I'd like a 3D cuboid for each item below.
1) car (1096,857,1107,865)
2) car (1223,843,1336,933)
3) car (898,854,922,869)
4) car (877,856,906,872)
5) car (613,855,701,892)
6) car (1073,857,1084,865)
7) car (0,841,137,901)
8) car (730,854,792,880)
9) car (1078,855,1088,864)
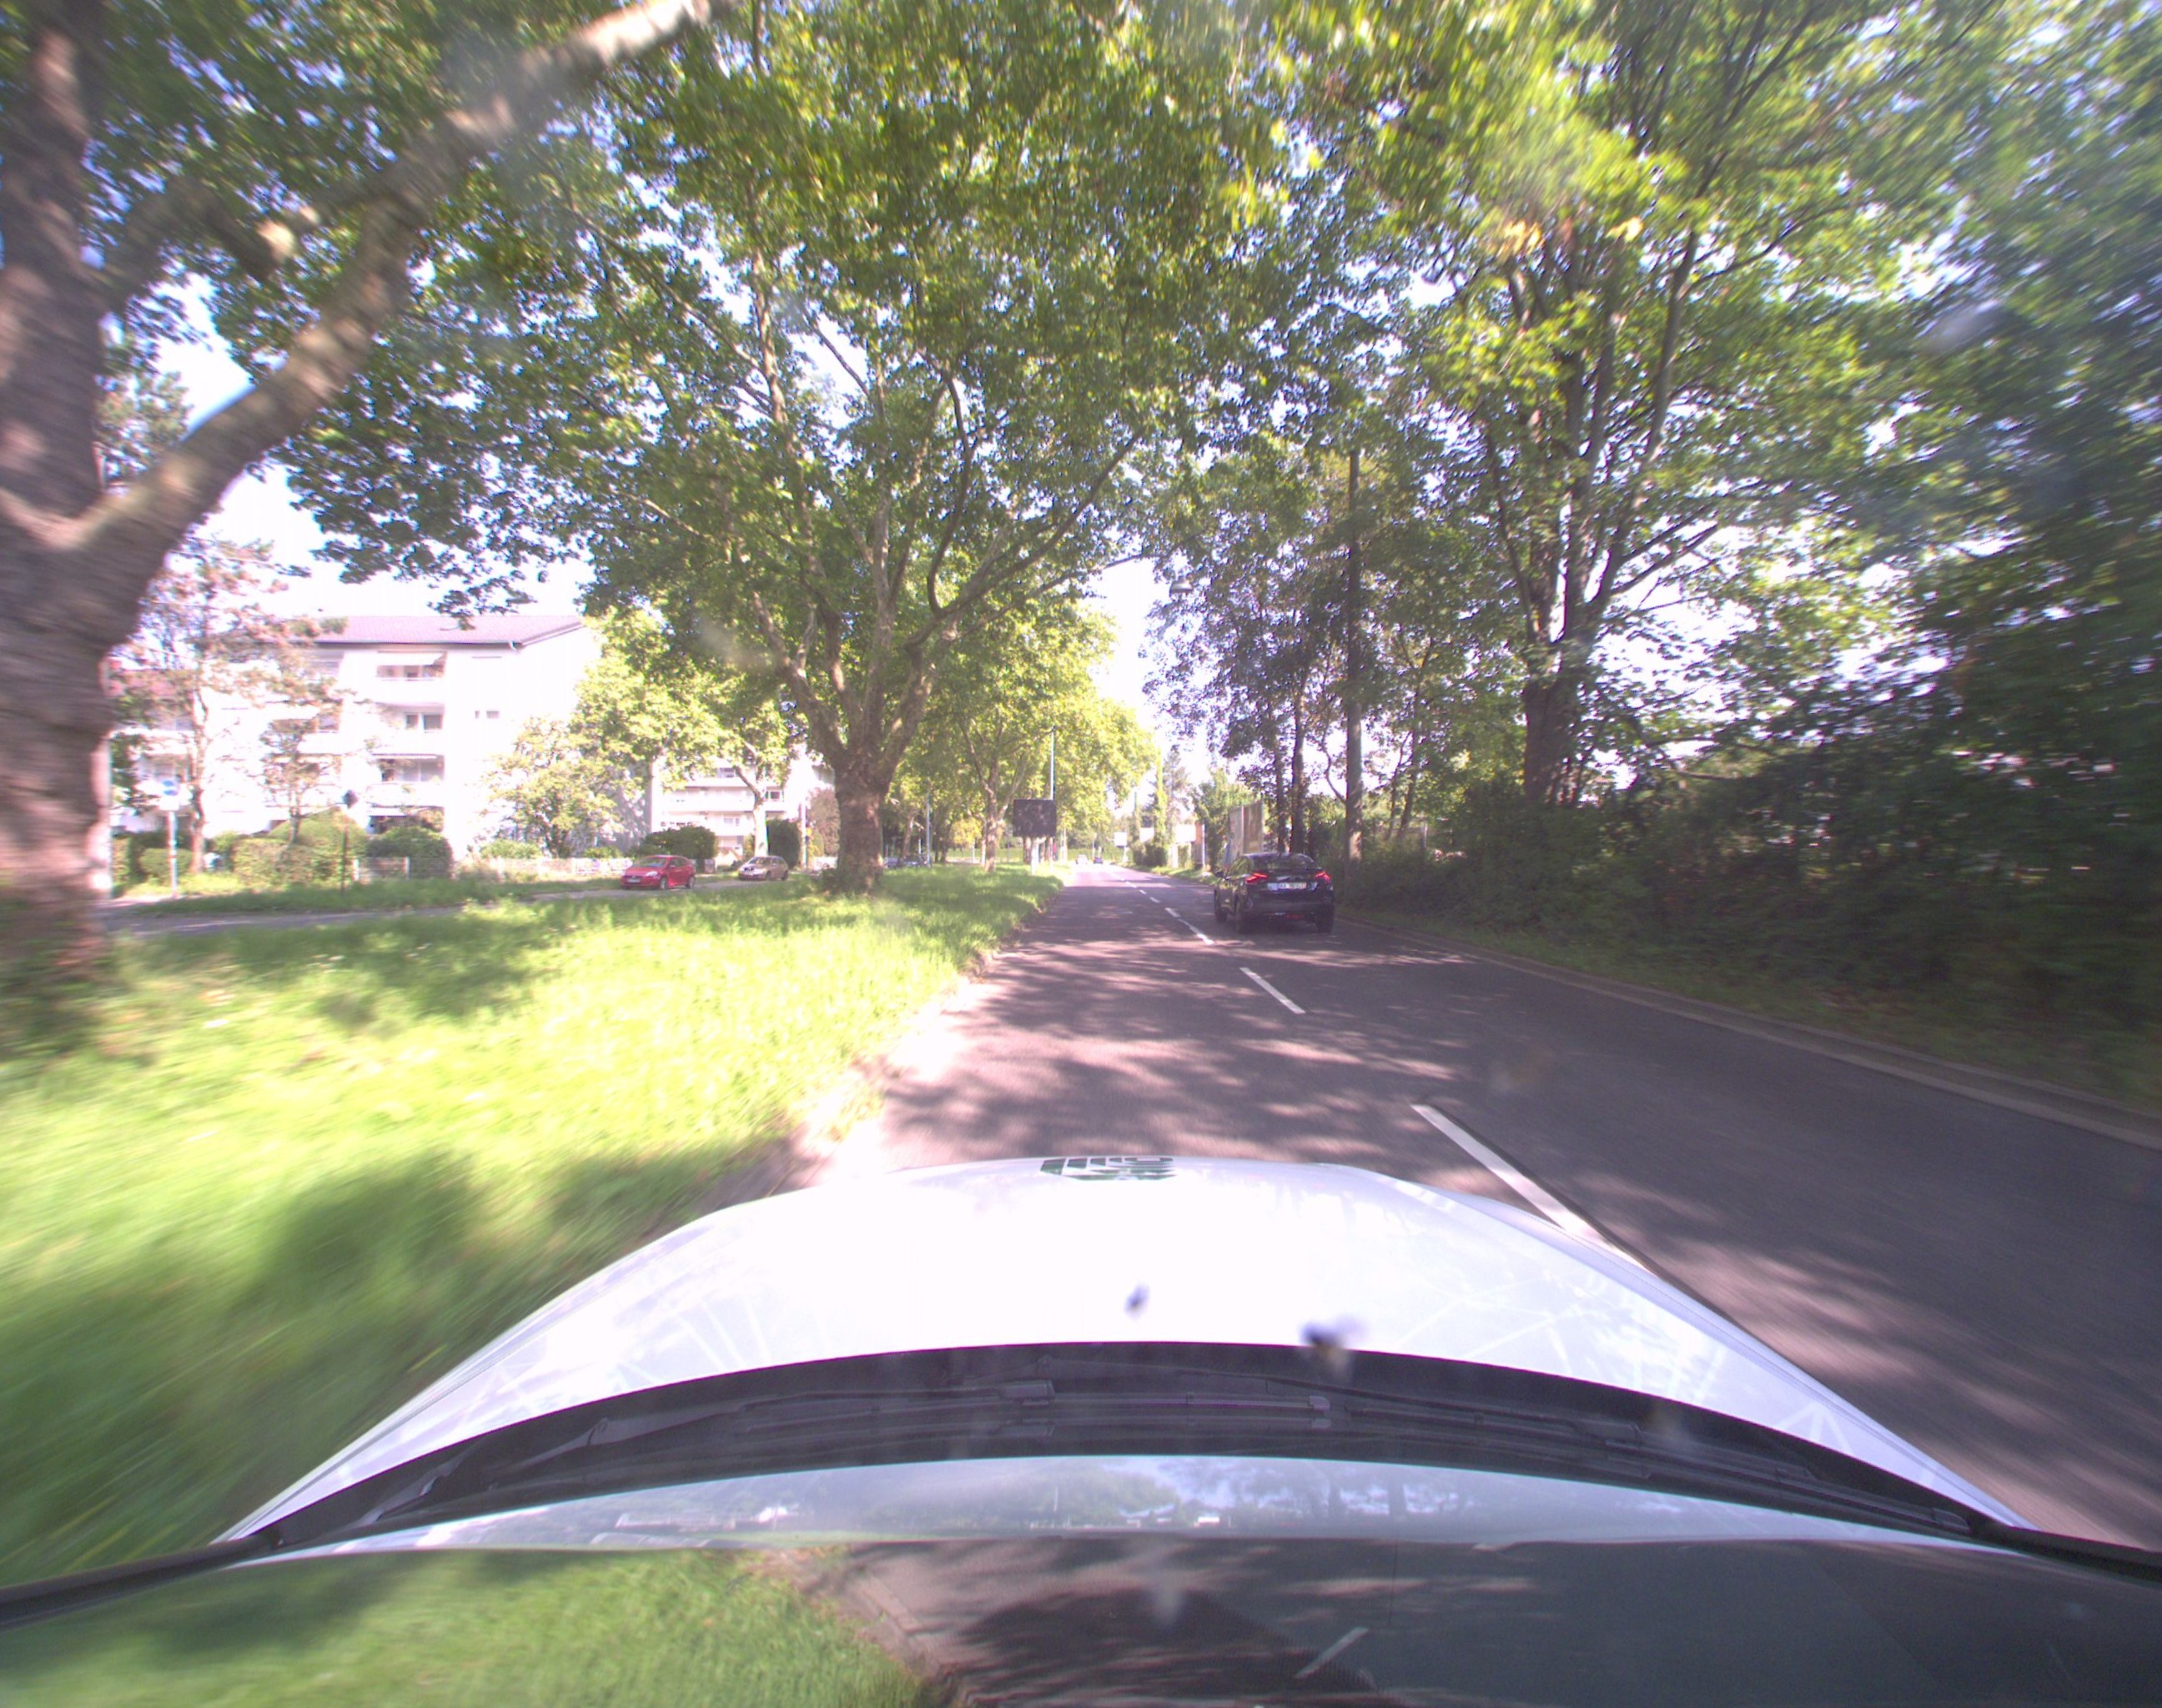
[{"bbox_3d":[3.769,1.344,150.662,1.792,1.401,3.998,1,-1,-1],"label":"car"},{"bbox_3d":[3.901,0.629,16.628,1.637,1.588,4.261,-1,-1,5],"label":"car"},{"bbox_3d":[-18.456,0.822,87.899,1.694,1.568,3.999,0,0,0],"label":"car"},{"bbox_3d":[-18.495,0.993,79.608,1.694,1.508,4.540,0,0,0],"label":"car"},{"bbox_3d":[-18.058,0.808,34.871,1.533,1.451,4.065,1,-1,1],"label":"car"},{"bbox_3d":[-0.506,1.274,150.063,1.680,1.462,3.853,1,-1,4],"label":"car"},{"bbox_3d":[-35.018,0.530,27.172,1.835,1.901,4.271,1,-1,5],"label":"car"},{"bbox_3d":[-18.343,0.707,46.890,1.795,1.430,4.065,1,0,1],"label":"car"},{"bbox_3d":[0.391,0.970,141.834,1.682,1.462,4.000,1,-1,1],"label":"car"}]
